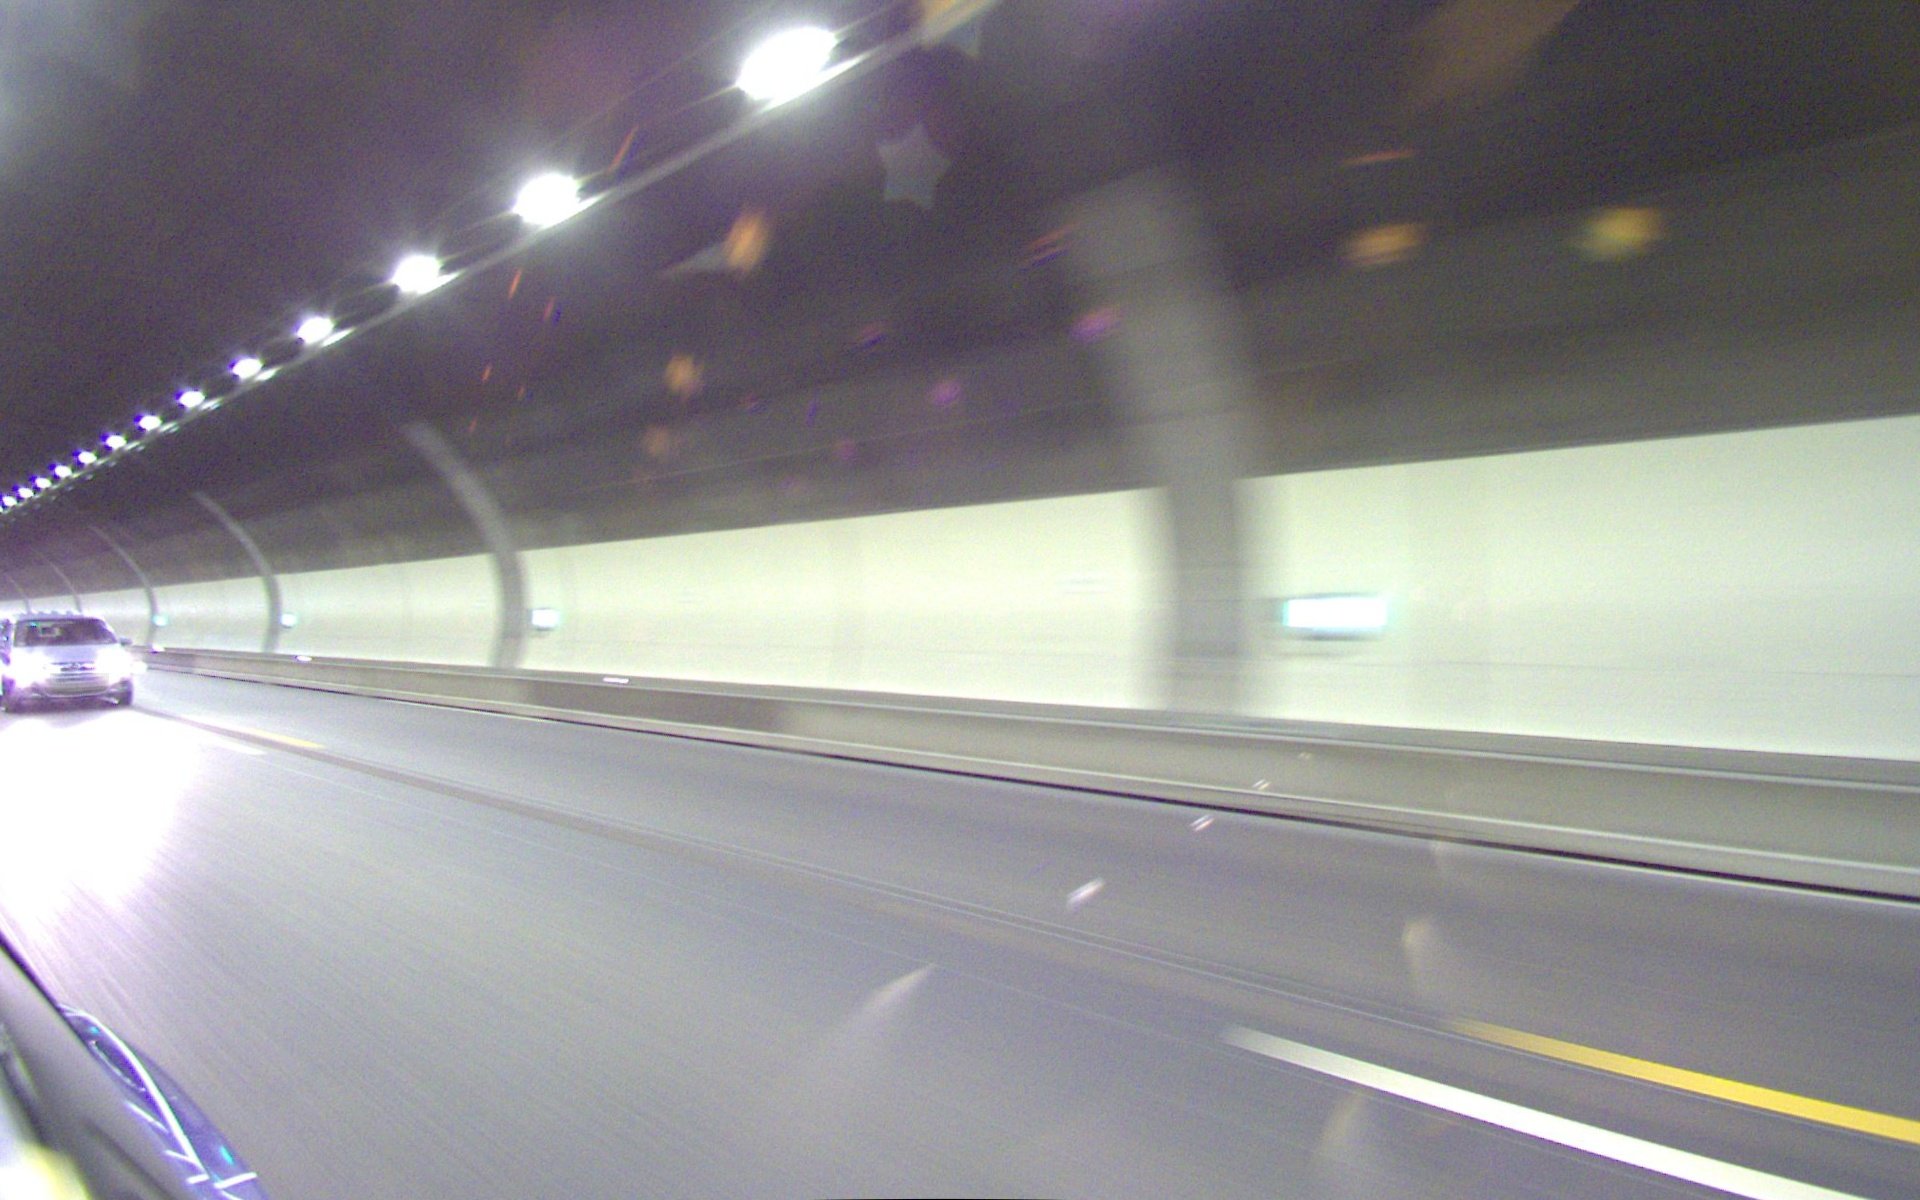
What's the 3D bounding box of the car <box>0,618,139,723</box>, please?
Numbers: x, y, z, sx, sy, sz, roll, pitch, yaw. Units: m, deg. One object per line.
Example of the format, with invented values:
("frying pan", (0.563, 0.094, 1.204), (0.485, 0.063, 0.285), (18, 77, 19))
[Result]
("car", (-15.875, 1.120, 17.603), (4.094, 1.584, 1.744), (-1, 0, 40))
